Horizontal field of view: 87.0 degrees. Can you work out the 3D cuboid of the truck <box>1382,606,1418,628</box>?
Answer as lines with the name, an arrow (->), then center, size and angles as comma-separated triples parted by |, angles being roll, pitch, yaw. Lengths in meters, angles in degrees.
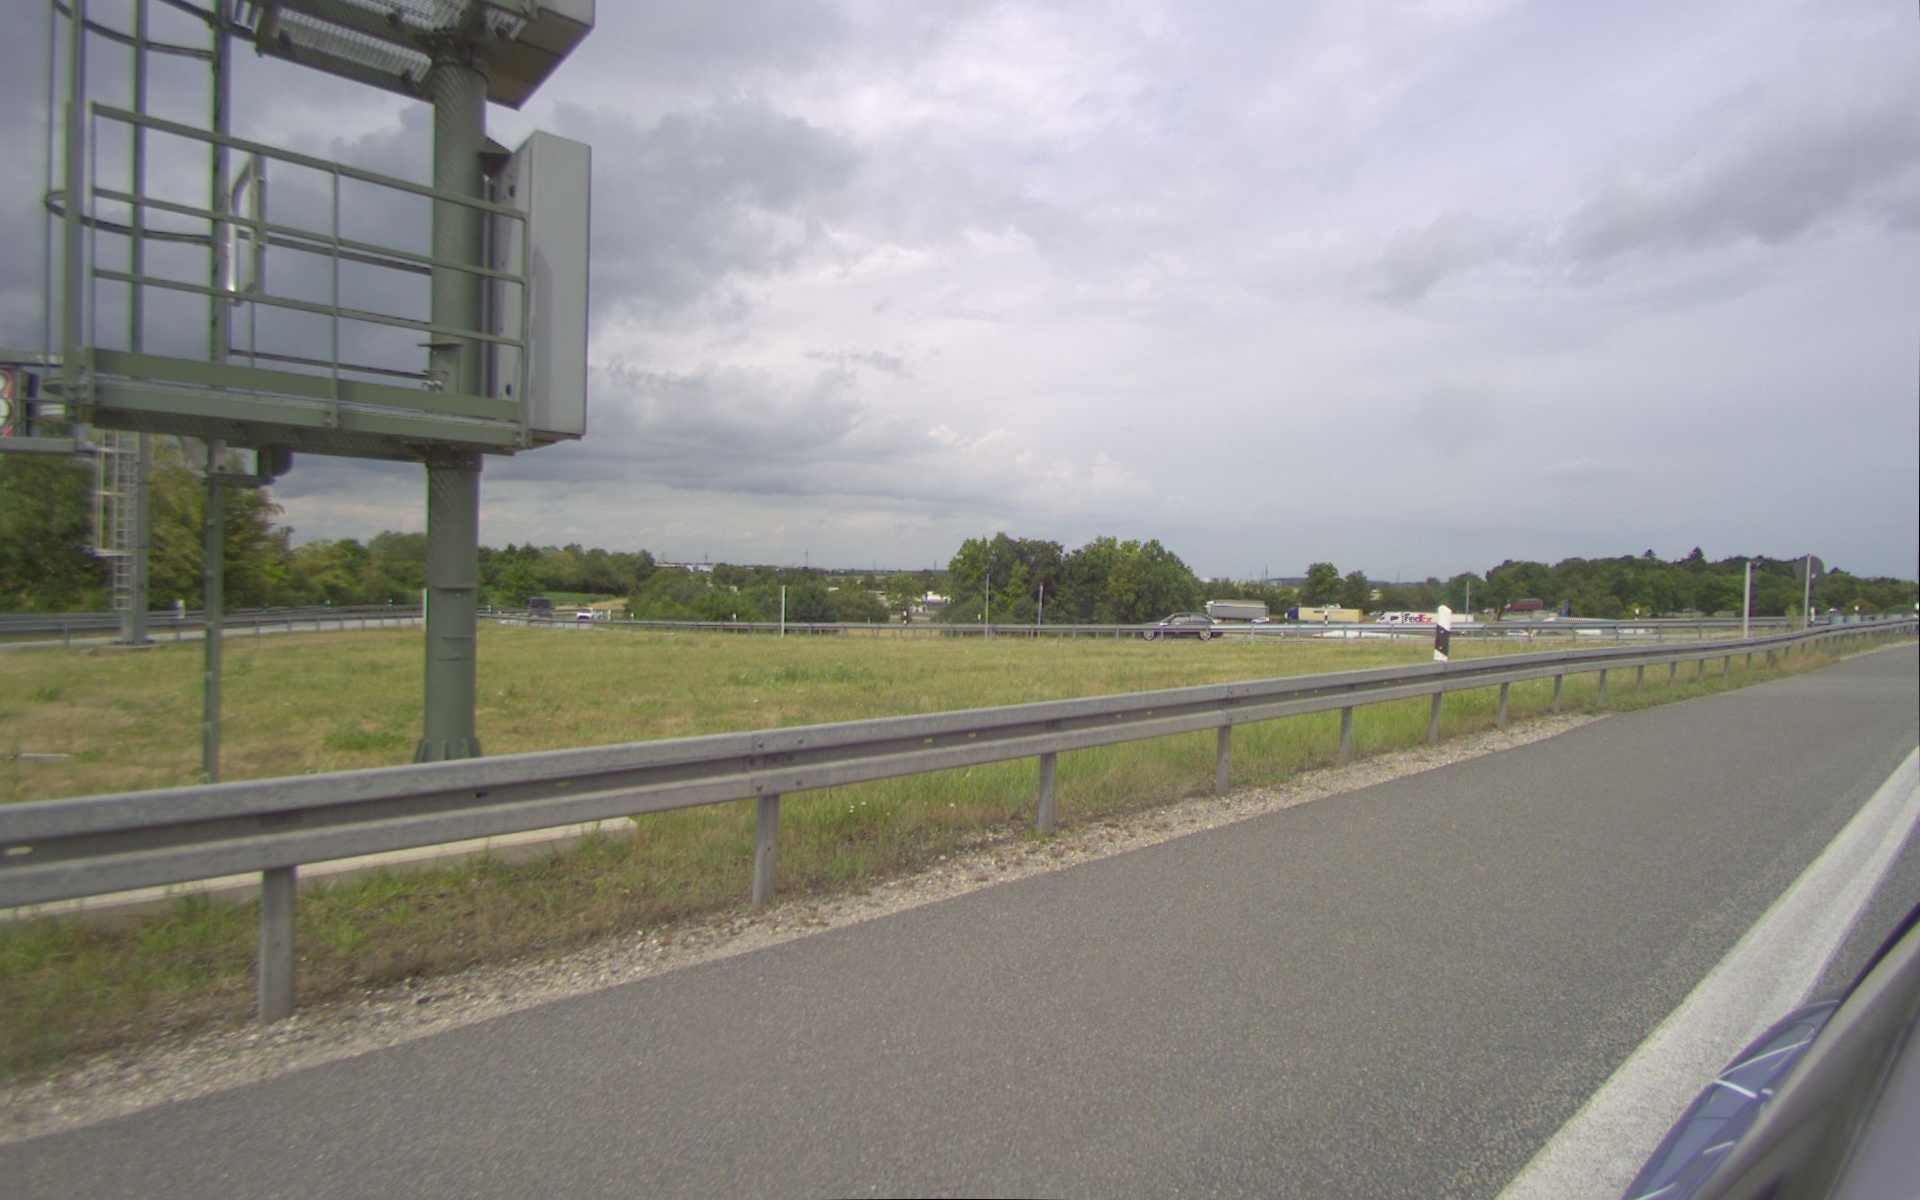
truck -> 94.417, 3.651, 217.139 | 6.261, 4.568, 3.878 | 0, 0, 38

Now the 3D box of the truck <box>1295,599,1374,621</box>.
truck -> 83.616, 2.189, 226.346 | 16.280, 4.612, 3.952 | 1, -1, 39

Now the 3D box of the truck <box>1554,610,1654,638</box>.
truck -> 123.703, 4.541, 194.641 | 16.090, 4.759, 3.939 | 1, 0, 39

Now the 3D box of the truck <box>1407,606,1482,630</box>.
truck -> 101.288, 3.782, 211.716 | 13.717, 4.612, 3.953 | 1, -1, 38

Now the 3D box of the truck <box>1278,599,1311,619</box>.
truck -> 76.669, 2.065, 231.829 | 6.260, 4.568, 3.878 | 0, 0, 38

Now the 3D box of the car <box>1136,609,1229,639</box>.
car -> 10.731, 1.148, 49.067 | 4.298, 1.297, 1.703 | 1, 0, 12

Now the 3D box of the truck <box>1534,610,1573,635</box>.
truck -> 117.207, 4.336, 199.746 | 6.260, 4.734, 3.879 | 0, 0, 38

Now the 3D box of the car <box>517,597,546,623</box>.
car -> -39.108, 0.890, 92.245 | 1.874, 2.291, 4.654 | 1, 0, -29

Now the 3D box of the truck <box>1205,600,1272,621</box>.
truck -> 65.843, 2.379, 239.691 | 14.812, 4.612, 3.951 | 1, -1, 39

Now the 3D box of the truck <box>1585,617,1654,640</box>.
truck -> 123.148, 5.284, 189.148 | 10.714, 4.123, 3.200 | 1, -1, 35

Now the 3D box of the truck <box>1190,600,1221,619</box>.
truck -> 59.454, 2.239, 244.891 | 6.262, 4.568, 3.877 | 0, 0, 39

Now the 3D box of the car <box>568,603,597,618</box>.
car -> -44.756, 1.229, 120.131 | 1.962, 1.731, 4.000 | 1, 0, 0
